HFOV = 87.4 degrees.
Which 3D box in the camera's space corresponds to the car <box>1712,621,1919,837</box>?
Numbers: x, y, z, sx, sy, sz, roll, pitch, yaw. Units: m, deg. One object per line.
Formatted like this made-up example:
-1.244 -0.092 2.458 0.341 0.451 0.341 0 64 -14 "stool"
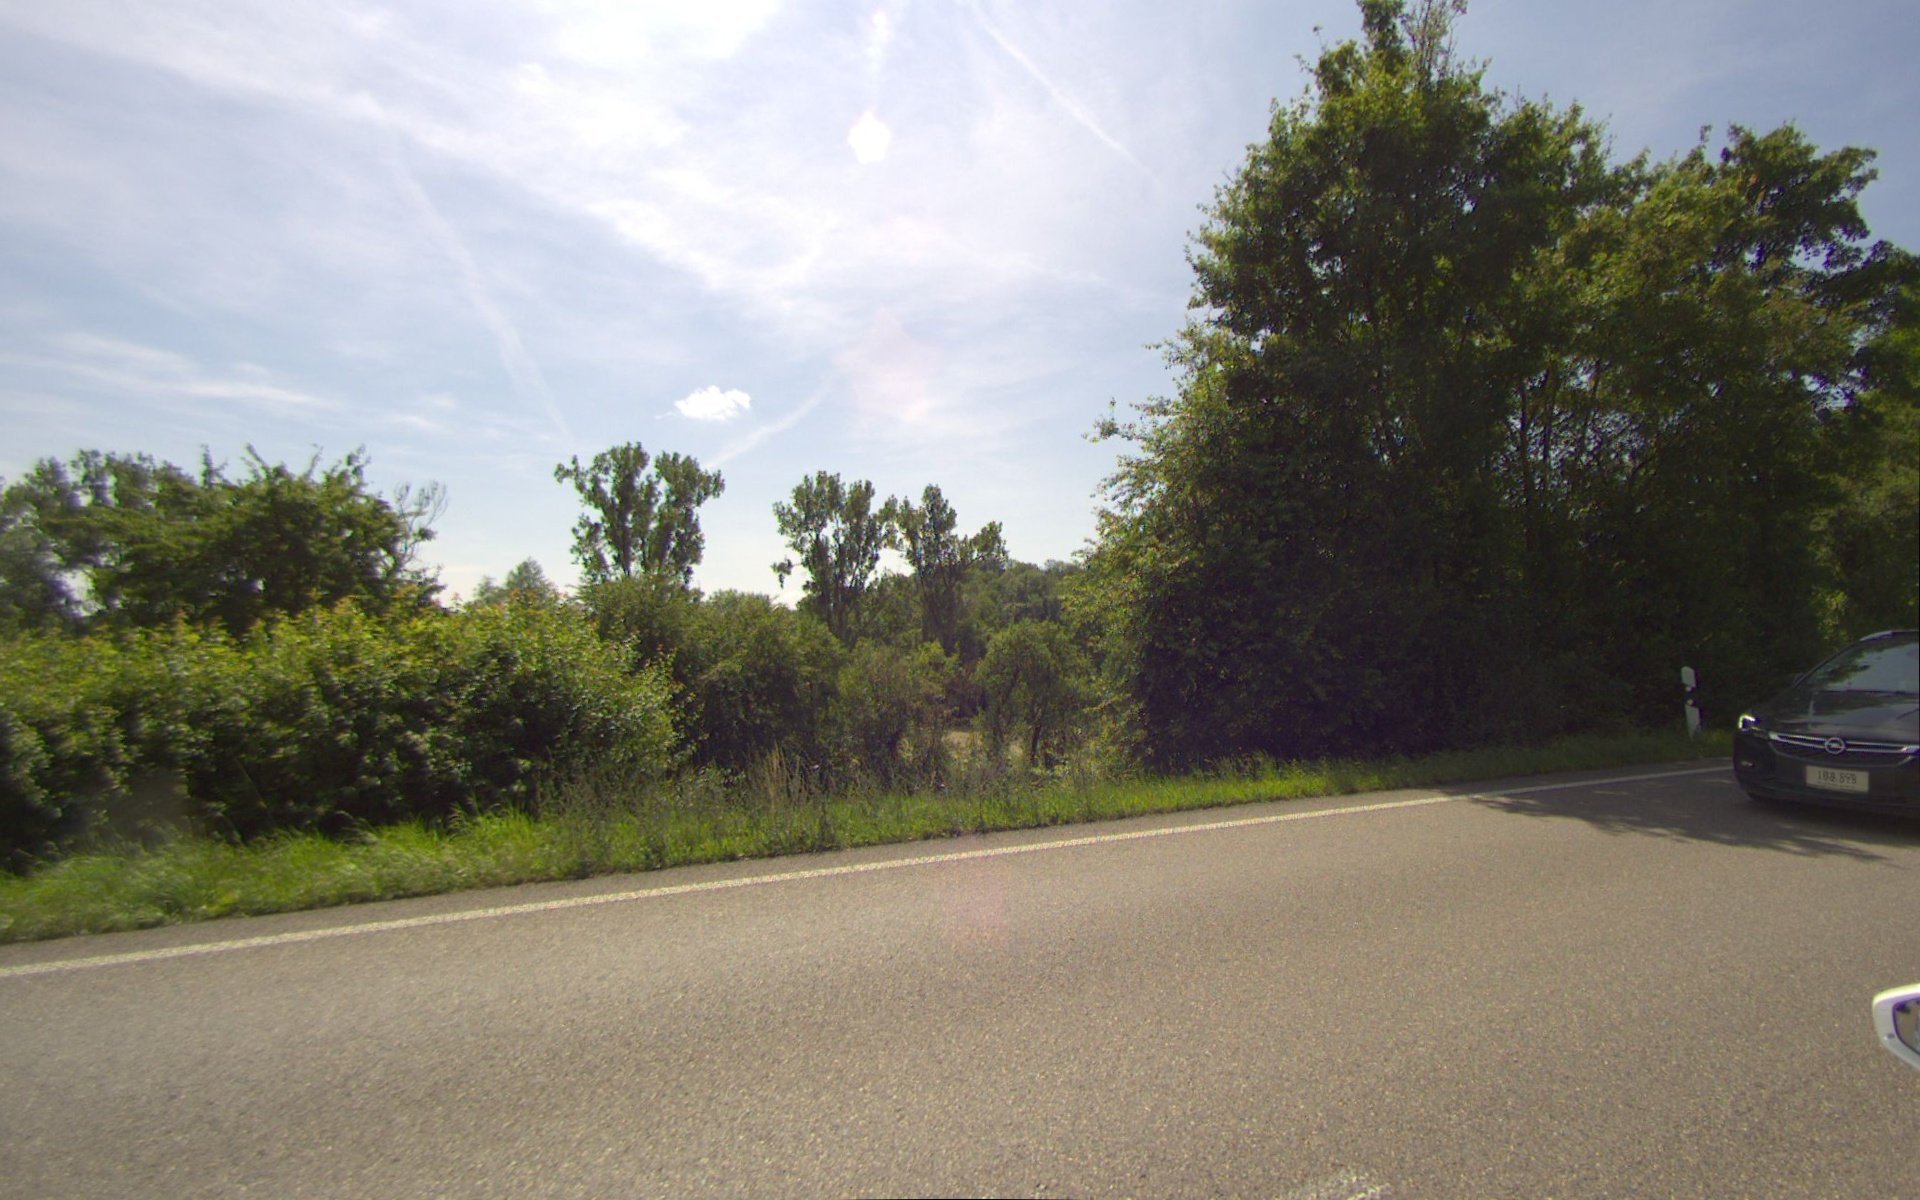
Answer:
8.369 0.956 8.393 4.321 1.490 1.703 1 -1 -29 "car"
